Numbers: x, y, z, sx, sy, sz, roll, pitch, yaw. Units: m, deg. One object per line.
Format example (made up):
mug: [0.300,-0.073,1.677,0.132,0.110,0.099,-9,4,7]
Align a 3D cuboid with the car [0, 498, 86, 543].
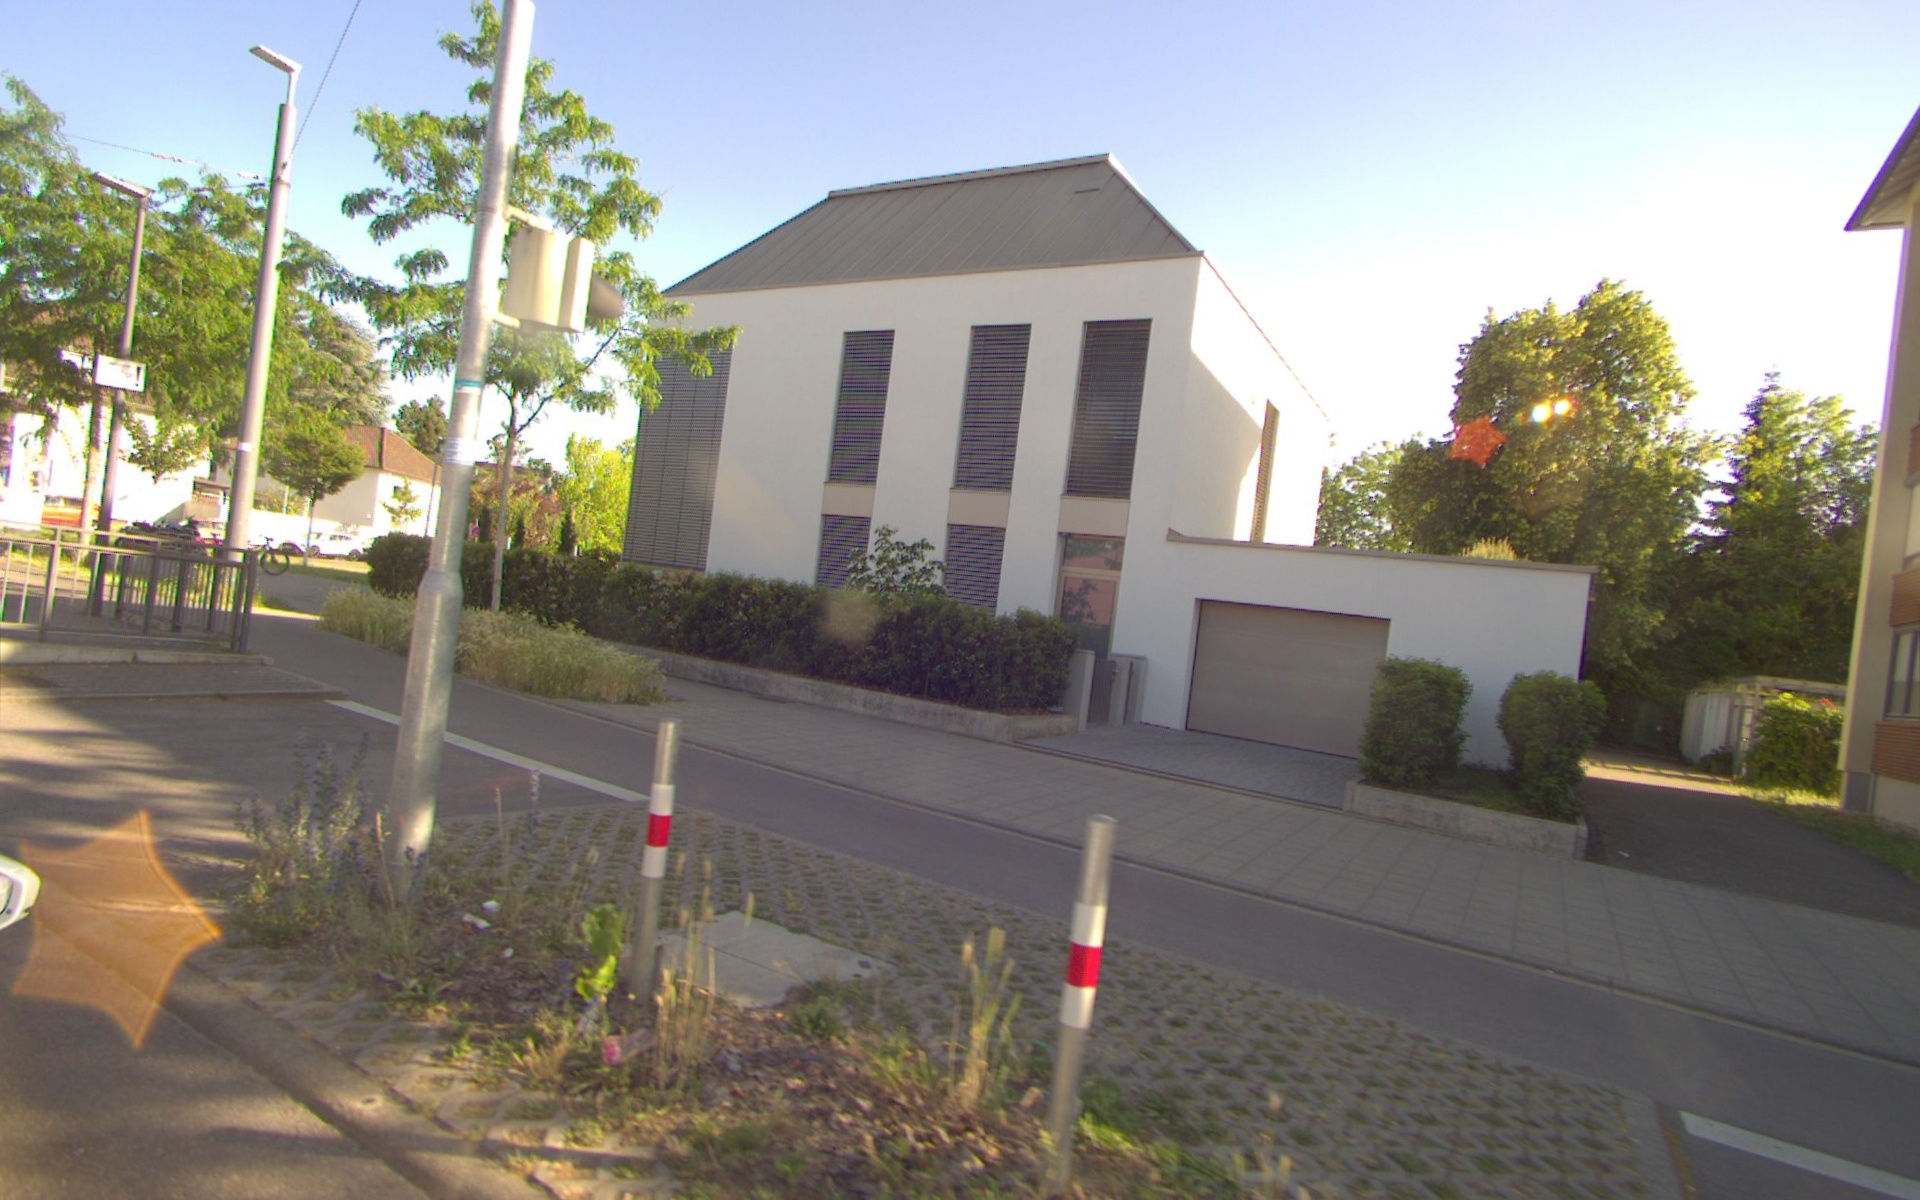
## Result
car: [-39.101,-3.396,41.358,1.957,1.483,4.592,5,-2,45]

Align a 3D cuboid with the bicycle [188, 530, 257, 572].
bicycle: [-20.514,-1.349,28.006,0.408,0.990,1.474,7,0,24]

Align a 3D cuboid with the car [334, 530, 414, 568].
car: [-35.033,-3.010,60.253,1.962,1.591,4.005,8,-2,6]

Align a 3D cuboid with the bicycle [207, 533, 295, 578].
bicycle: [-19.215,-1.189,27.306,0.482,0.990,1.903,7,-1,24]

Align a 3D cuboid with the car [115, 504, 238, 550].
car: [-37.923,-3.504,48.800,1.946,1.526,4.175,7,-1,24]

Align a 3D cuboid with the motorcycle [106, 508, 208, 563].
motorcycle: [-23.513,-1.860,29.505,0.846,1.290,2.083,7,0,24]

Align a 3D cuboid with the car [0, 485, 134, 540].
car: [-39.814,-3.876,44.801,1.948,1.661,4.172,7,-1,29]

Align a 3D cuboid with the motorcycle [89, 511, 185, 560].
motorcycle: [-24.816,-1.930,30.365,0.846,1.172,2.004,7,-1,24]

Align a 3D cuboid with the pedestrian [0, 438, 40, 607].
pedestrian: [-10.315,-0.853,10.519,0.679,1.724,0.673,7,-1,30]

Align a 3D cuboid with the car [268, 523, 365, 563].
car: [-35.261,-3.081,55.258,1.944,1.526,4.180,7,-1,14]
